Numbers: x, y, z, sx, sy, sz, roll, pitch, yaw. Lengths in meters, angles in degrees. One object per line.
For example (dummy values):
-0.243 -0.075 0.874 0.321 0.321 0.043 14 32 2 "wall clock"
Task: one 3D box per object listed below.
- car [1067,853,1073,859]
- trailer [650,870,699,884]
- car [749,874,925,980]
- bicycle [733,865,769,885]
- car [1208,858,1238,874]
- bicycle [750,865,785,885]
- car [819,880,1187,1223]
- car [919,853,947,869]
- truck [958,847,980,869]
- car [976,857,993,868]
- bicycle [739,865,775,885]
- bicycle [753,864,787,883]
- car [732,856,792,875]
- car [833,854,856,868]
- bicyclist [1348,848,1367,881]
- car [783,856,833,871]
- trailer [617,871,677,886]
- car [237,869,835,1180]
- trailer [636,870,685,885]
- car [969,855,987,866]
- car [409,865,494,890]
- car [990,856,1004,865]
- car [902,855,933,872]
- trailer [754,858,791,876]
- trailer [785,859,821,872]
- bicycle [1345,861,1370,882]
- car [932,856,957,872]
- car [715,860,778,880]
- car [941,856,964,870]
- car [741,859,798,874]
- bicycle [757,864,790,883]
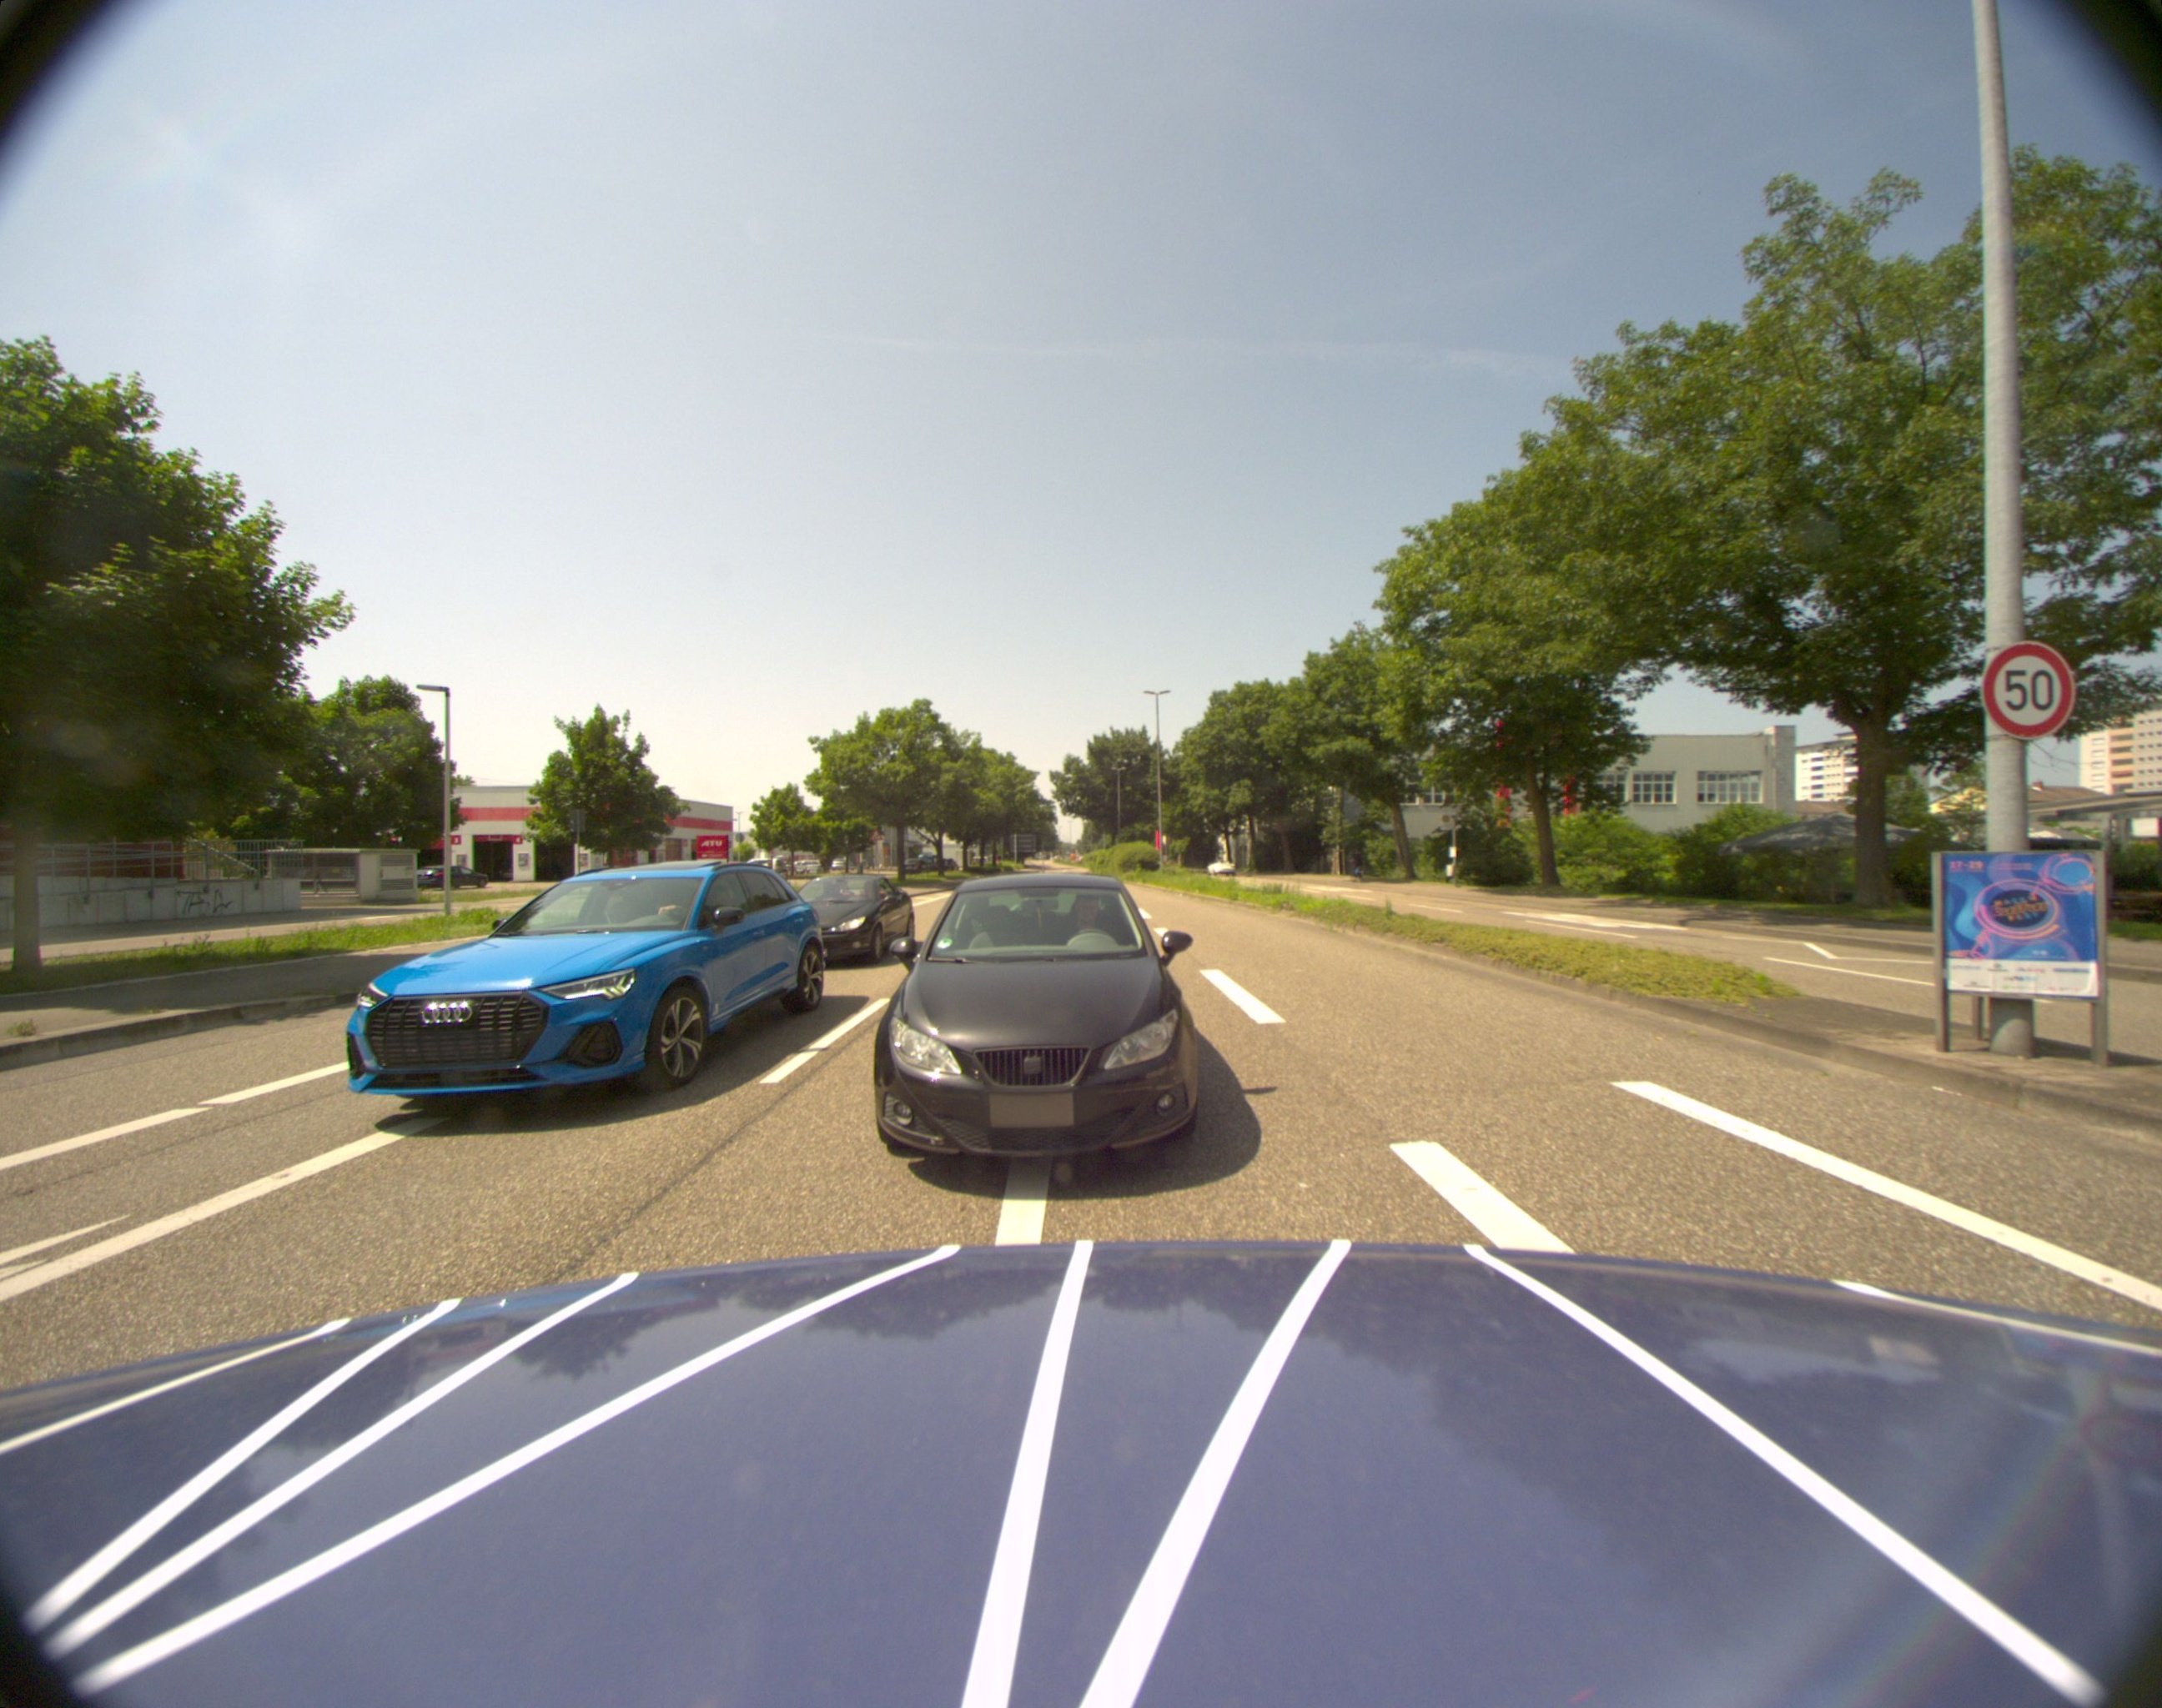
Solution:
-3.390 0.631 236.314 1.999 1.692 4.000 0 0 0 "car"
-24.078 1.339 45.042 2.137 0.757 1.394 -1 0 1 "trailer"
-3.863 1.086 12.751 1.642 1.336 4.000 -3 0 0 "car"
-18.573 1.192 42.770 1.784 1.117 0.514 0 1 -6 "bicycle"
11.997 0.979 64.399 1.722 1.255 4.301 2 0 0 "car"
-18.217 1.194 44.142 1.784 1.117 0.514 0 1 -6 "bicycle"
-0.365 0.956 5.420 1.642 1.395 4.000 0 0 -1 "car"
-13.461 0.635 69.349 1.719 1.458 4.000 0 0 1 "car"
-13.586 0.489 92.425 1.904 2.552 4.000 0 0 2 "truck"
-13.326 1.137 105.025 1.719 1.458 4.000 0 0 1 "car"
-18.489 1.173 43.396 1.784 1.117 0.514 0 1 -6 "bicycle"
-18.312 1.157 44.782 1.784 1.117 0.514 0 1 -6 "bicycle"
-25.307 0.902 60.299 3.998 1.394 1.747 0 0 -3 "car"
-27.464 0.765 88.387 1.759 1.586 3.997 0 0 -7 "car"
15.054 0.585 41.378 0.651 1.759 0.927 -1 1 0 "bicyclist"
-25.121 0.882 70.015 3.998 1.293 1.689 0 0 -3 "car"
-23.725 1.349 41.599 2.467 0.757 1.449 -1 0 1 "trailer"
-3.721 0.988 6.400 1.842 1.586 4.399 -1 0 0 "car"
-24.070 1.336 43.533 2.137 0.757 1.267 -1 0 1 "trailer"
-13.355 0.831 98.261 1.719 1.458 4.000 0 0 1 "car"
-38.186 1.412 46.228 1.717 1.364 4.145 0 0 0 "car"
-13.072 1.025 118.857 1.719 1.458 4.000 0 0 1 "car"
-13.544 0.792 63.122 1.642 1.363 4.000 0 0 1 "car"
-27.360 1.139 67.443 2.642 1.518 1.415 0 0 -2 "trailer"
-24.685 1.024 67.624 2.642 1.046 1.578 0 0 -2 "trailer"
15.052 0.937 41.424 0.656 1.045 1.884 -1 0 1 "bicycle"
-13.369 0.978 74.523 1.719 1.511 4.000 0 0 1 "car"
-25.533 1.210 58.070 3.998 1.394 1.747 0 0 -3 "car"
-13.599 0.945 80.697 1.719 1.504 4.000 0 0 1 "car"
-25.631 1.017 62.667 3.998 1.201 1.747 0 0 -3 "car"
-18.403 1.178 45.501 1.784 1.117 0.514 0 1 -6 "bicycle"
